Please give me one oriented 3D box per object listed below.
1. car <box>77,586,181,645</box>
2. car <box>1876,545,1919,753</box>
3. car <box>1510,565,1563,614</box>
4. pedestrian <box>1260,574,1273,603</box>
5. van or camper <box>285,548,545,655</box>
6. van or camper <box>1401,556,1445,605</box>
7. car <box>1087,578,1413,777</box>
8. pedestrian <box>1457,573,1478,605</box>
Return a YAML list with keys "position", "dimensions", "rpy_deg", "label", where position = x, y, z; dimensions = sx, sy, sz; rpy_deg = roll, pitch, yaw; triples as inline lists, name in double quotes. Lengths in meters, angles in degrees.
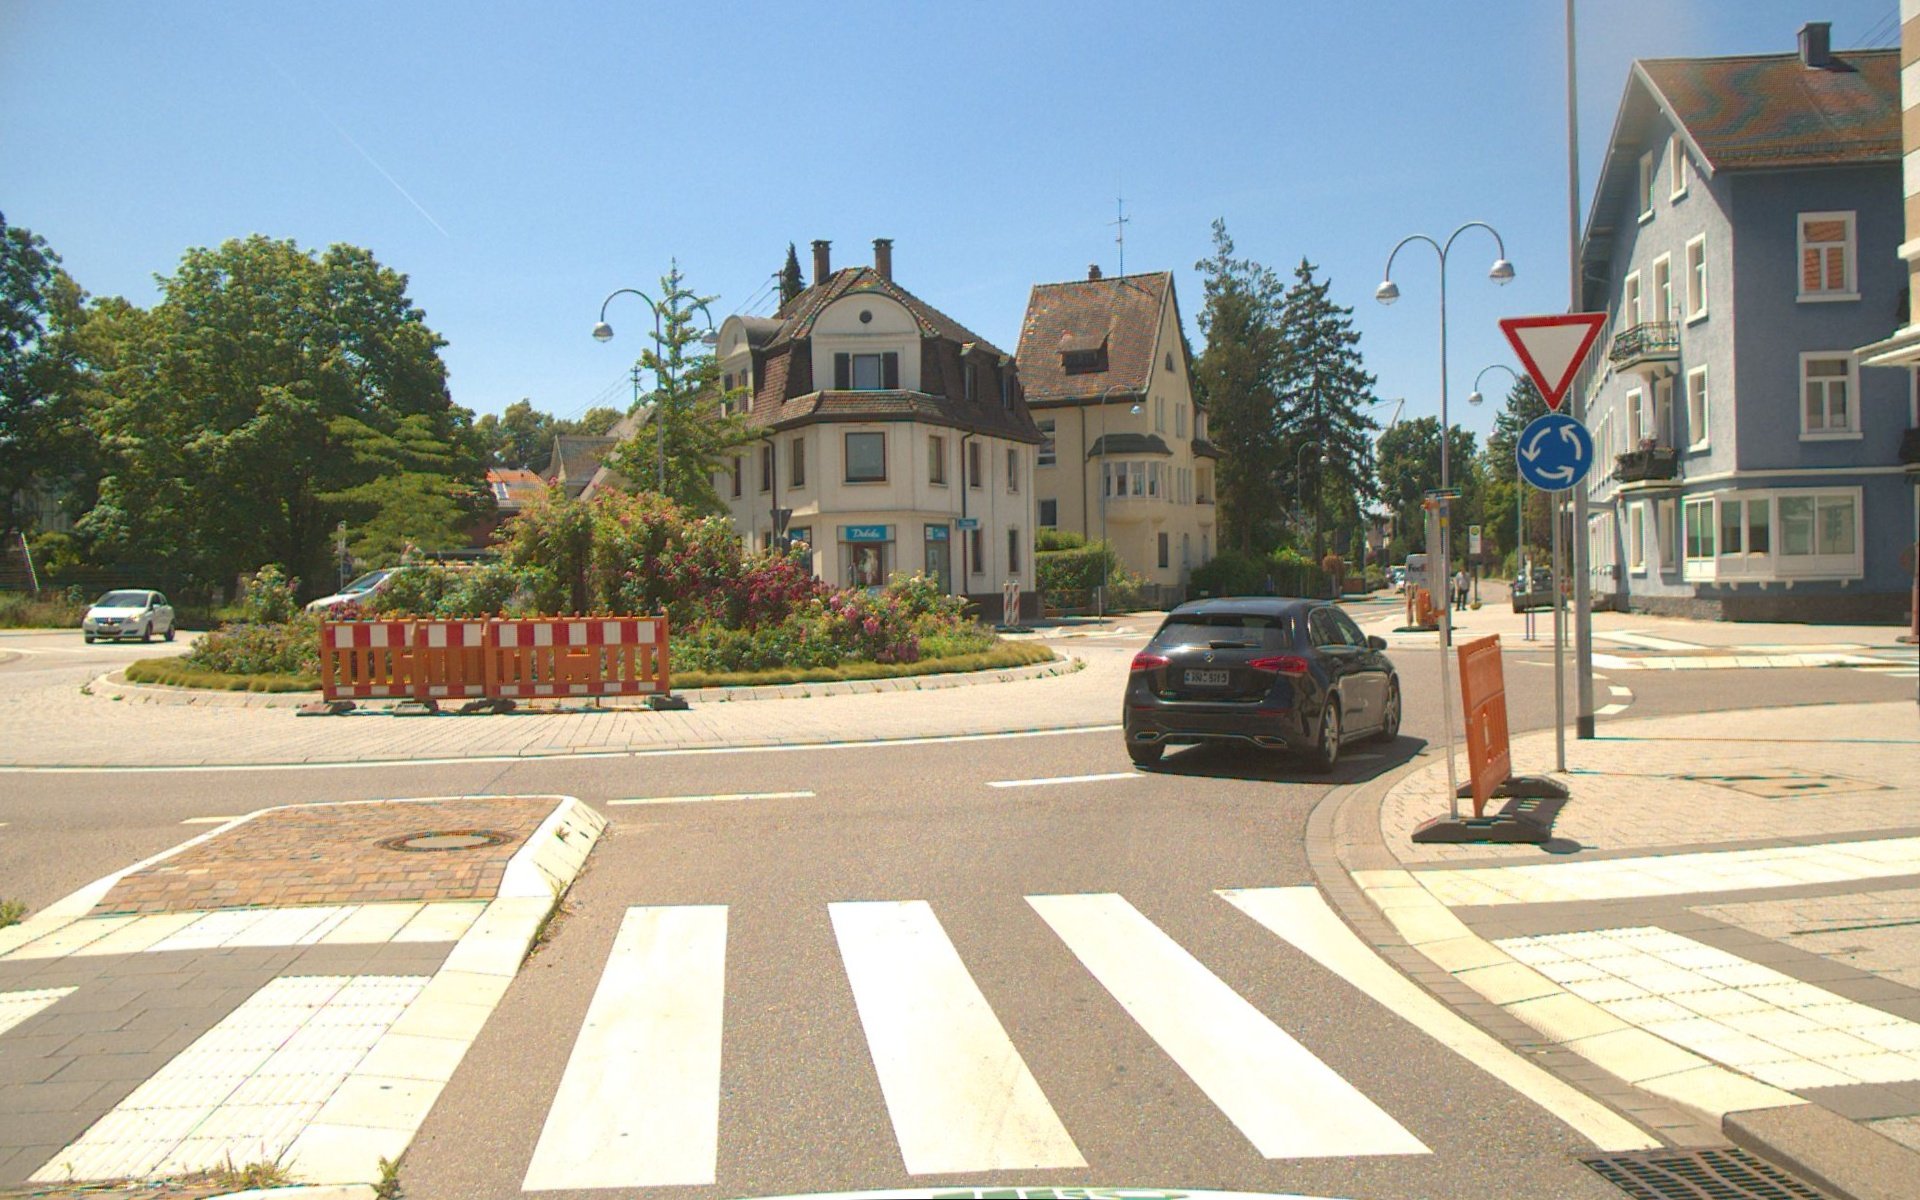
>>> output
- position: [-24.006, 0.417, 47.912]
  dimensions: [1.754, 1.625, 3.908]
  rpy_deg: [-1, 0, -12]
  label: "car"
- position: [7.955, 0.341, 10.559]
  dimensions: [1.727, 1.556, 4.691]
  rpy_deg: [-2, 0, 2]
  label: "car"
- position: [20.428, -0.390, 58.587]
  dimensions: [1.606, 1.533, 3.565]
  rpy_deg: [-4, 0, 20]
  label: "car"
- position: [16.281, -0.626, 87.869]
  dimensions: [0.512, 1.535, 0.473]
  rpy_deg: [-1, 0, 26]
  label: "pedestrian"
- position: [-12.245, -0.022, 37.497]
  dimensions: [1.964, 2.209, 5.384]
  rpy_deg: [3, 3, 40]
  label: "van or camper"
- position: [25.495, -1.072, 91.093]
  dimensions: [2.159, 2.656, 4.002]
  rpy_deg: [-1, 0, 18]
  label: "van or camper"
- position: [2.788, 0.579, 15.132]
  dimensions: [1.915, 1.452, 3.997]
  rpy_deg: [0, 2, 26]
  label: "car"
- position: [21.370, -0.456, 69.596]
  dimensions: [0.653, 1.308, 0.586]
  rpy_deg: [-5, -1, 27]
  label: "pedestrian"
